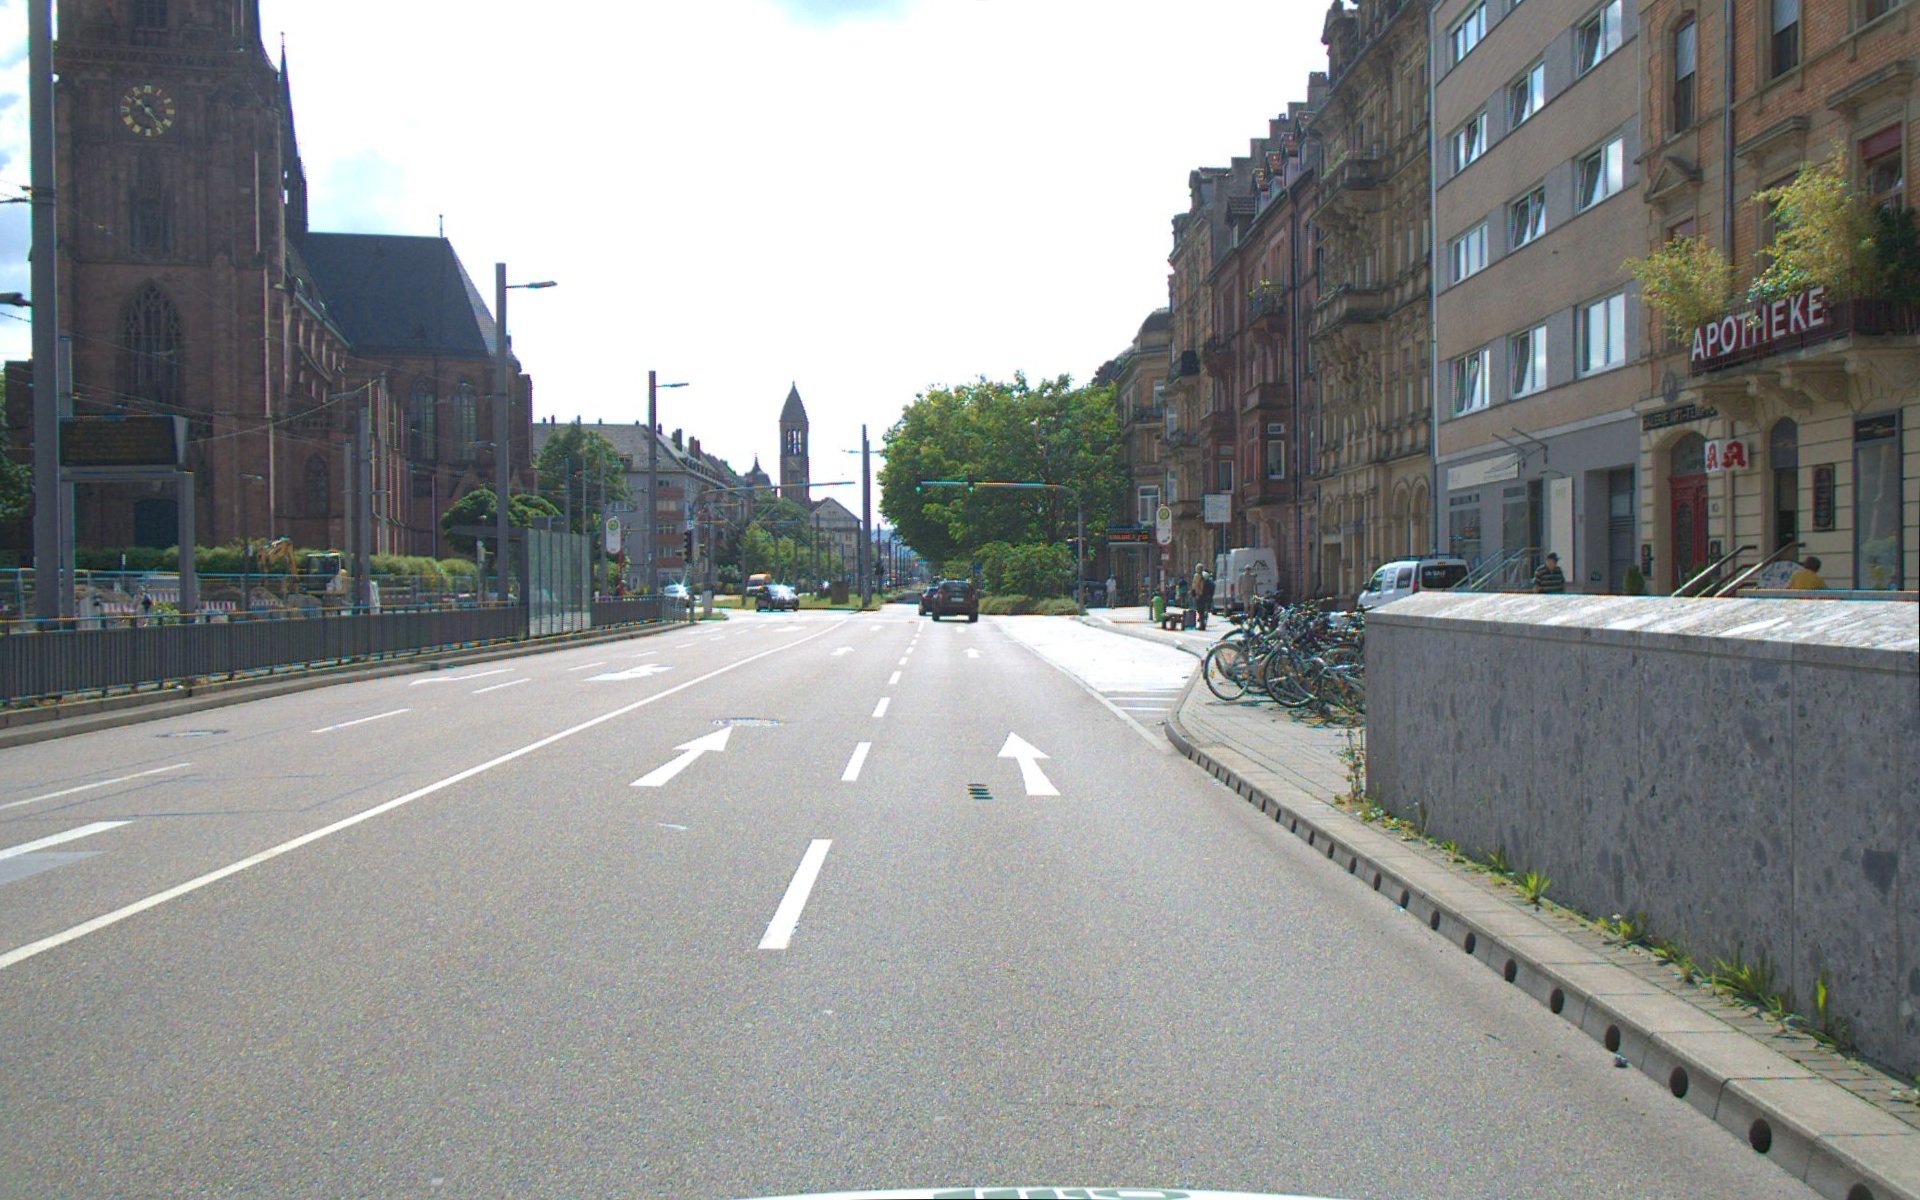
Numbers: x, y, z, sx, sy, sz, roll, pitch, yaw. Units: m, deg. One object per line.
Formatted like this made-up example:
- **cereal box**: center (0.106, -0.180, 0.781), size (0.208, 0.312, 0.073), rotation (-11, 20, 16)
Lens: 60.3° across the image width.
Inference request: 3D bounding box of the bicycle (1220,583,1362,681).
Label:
- **bicycle**: center (4.495, 0.420, 22.474), size (1.891, 1.259, 0.440), rotation (-1, 2, -13)

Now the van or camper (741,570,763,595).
- **van or camper**: center (-23.761, -1.968, 189.221), size (2.211, 2.785, 6.198), rotation (-1, 0, -4)

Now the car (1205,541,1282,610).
- **car**: center (11.106, -0.943, 65.125), size (1.953, 2.569, 5.888), rotation (-1, 1, -1)

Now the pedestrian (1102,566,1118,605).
- **pedestrian**: center (8.053, -0.762, 88.546), size (0.752, 2.049, 0.715), rotation (-1, 0, 0)

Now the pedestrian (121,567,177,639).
- **pedestrian**: center (-23.742, 0.081, 48.435), size (1.043, 2.049, 1.051), rotation (-1, 0, 3)

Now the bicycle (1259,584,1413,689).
- **bicycle**: center (4.735, 0.446, 20.832), size (1.890, 1.259, 0.440), rotation (-1, 2, -12)

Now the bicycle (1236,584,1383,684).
- **bicycle**: center (4.640, 0.439, 21.967), size (1.890, 1.259, 0.440), rotation (-1, 2, -12)

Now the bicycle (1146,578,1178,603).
- **bicycle**: center (10.914, -0.523, 89.357), size (1.709, 1.290, 0.467), rotation (0, 2, 3)

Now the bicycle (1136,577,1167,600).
- **bicycle**: center (10.786, -0.664, 93.303), size (1.732, 1.290, 0.467), rotation (0, 2, 3)

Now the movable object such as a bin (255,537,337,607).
- **movable object such as a bin**: center (-31.104, -1.366, 77.617), size (1.952, 3.159, 4.003), rotation (0, 3, 3)

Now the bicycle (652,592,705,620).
- **bicycle**: center (-11.754, 0.249, 69.130), size (1.975, 1.146, 0.932), rotation (-1, 0, 9)

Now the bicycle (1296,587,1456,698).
- **bicycle**: center (5.013, 0.500, 19.929), size (1.891, 1.259, 0.440), rotation (-1, 2, -14)

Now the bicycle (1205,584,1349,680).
- **bicycle**: center (4.399, 0.438, 22.950), size (1.944, 1.259, 0.440), rotation (-1, 2, -13)

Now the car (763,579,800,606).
- **car**: center (-10.012, -0.405, 92.934), size (1.878, 1.442, 3.738), rotation (-1, 0, -4)

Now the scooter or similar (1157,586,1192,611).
- **scooter or similar**: center (11.174, -0.060, 86.080), size (1.733, 1.205, 0.466), rotation (-3, 0, -1)

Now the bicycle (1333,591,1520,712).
- **bicycle**: center (5.003, 0.545, 17.796), size (1.884, 1.259, 0.441), rotation (0, 2, 1)

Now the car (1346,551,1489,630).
- **car**: center (11.735, -0.232, 42.789), size (1.955, 1.894, 4.746), rotation (-1, 0, -6)

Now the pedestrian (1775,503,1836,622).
- **pedestrian**: center (12.506, -0.561, 24.473), size (0.566, 1.727, 0.612), rotation (0, 2, 0)

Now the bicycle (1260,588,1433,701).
- **bicycle**: center (4.443, 0.503, 19.063), size (1.884, 1.259, 0.441), rotation (0, 2, 1)

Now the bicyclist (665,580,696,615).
- **bicyclist**: center (-11.696, -0.098, 69.166), size (1.065, 1.461, 0.825), rotation (-1, 0, 9)

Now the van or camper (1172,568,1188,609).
- **van or camper**: center (10.944, -0.565, 82.262), size (0.652, 2.049, 0.638), rotation (-1, 0, -1)

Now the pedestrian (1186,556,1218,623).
- **pedestrian**: center (7.013, -0.304, 47.974), size (0.653, 1.936, 0.691), rotation (-1, 0, -19)

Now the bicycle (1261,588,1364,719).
- **bicycle**: center (3.767, 0.539, 17.812), size (0.431, 1.259, 1.927), rotation (-1, 3, -8)

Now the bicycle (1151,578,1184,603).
- **bicycle**: center (11.152, -0.503, 88.742), size (1.732, 1.290, 0.467), rotation (0, 2, 3)

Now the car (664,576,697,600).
- **car**: center (-19.533, -0.822, 115.631), size (1.781, 1.579, 4.557), rotation (-1, 0, -3)

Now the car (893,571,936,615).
- **car**: center (-2.237, -0.362, 80.949), size (1.954, 2.049, 3.997), rotation (-1, 0, -4)

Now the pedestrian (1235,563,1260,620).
- **pedestrian**: center (9.635, -0.288, 55.418), size (0.650, 1.868, 0.693), rotation (-1, 0, -7)

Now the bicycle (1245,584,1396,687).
- **bicycle**: center (4.660, 0.450, 21.385), size (1.890, 1.259, 0.440), rotation (-1, 2, -12)

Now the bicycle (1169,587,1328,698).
- **bicycle**: center (3.501, 0.503, 20.044), size (1.891, 1.259, 0.440), rotation (-1, 2, -14)

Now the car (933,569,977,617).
- **car**: center (-0.230, -0.309, 67.154), size (1.655, 1.740, 3.608), rotation (-1, 3, -2)

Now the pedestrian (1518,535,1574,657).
- **pedestrian**: center (10.471, -0.084, 29.583), size (0.706, 2.135, 0.786), rotation (0, 2, 0)

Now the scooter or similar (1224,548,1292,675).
- **scooter or similar**: center (4.408, 0.162, 24.562), size (0.390, 1.818, 1.532), rotation (-1, 0, -13)

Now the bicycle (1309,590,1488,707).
- **bicycle**: center (4.895, 0.535, 18.506), size (1.884, 1.259, 0.441), rotation (0, 2, 1)

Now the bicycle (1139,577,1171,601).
- **bicycle**: center (10.819, -0.596, 91.570), size (1.732, 1.290, 0.467), rotation (0, 2, 3)
